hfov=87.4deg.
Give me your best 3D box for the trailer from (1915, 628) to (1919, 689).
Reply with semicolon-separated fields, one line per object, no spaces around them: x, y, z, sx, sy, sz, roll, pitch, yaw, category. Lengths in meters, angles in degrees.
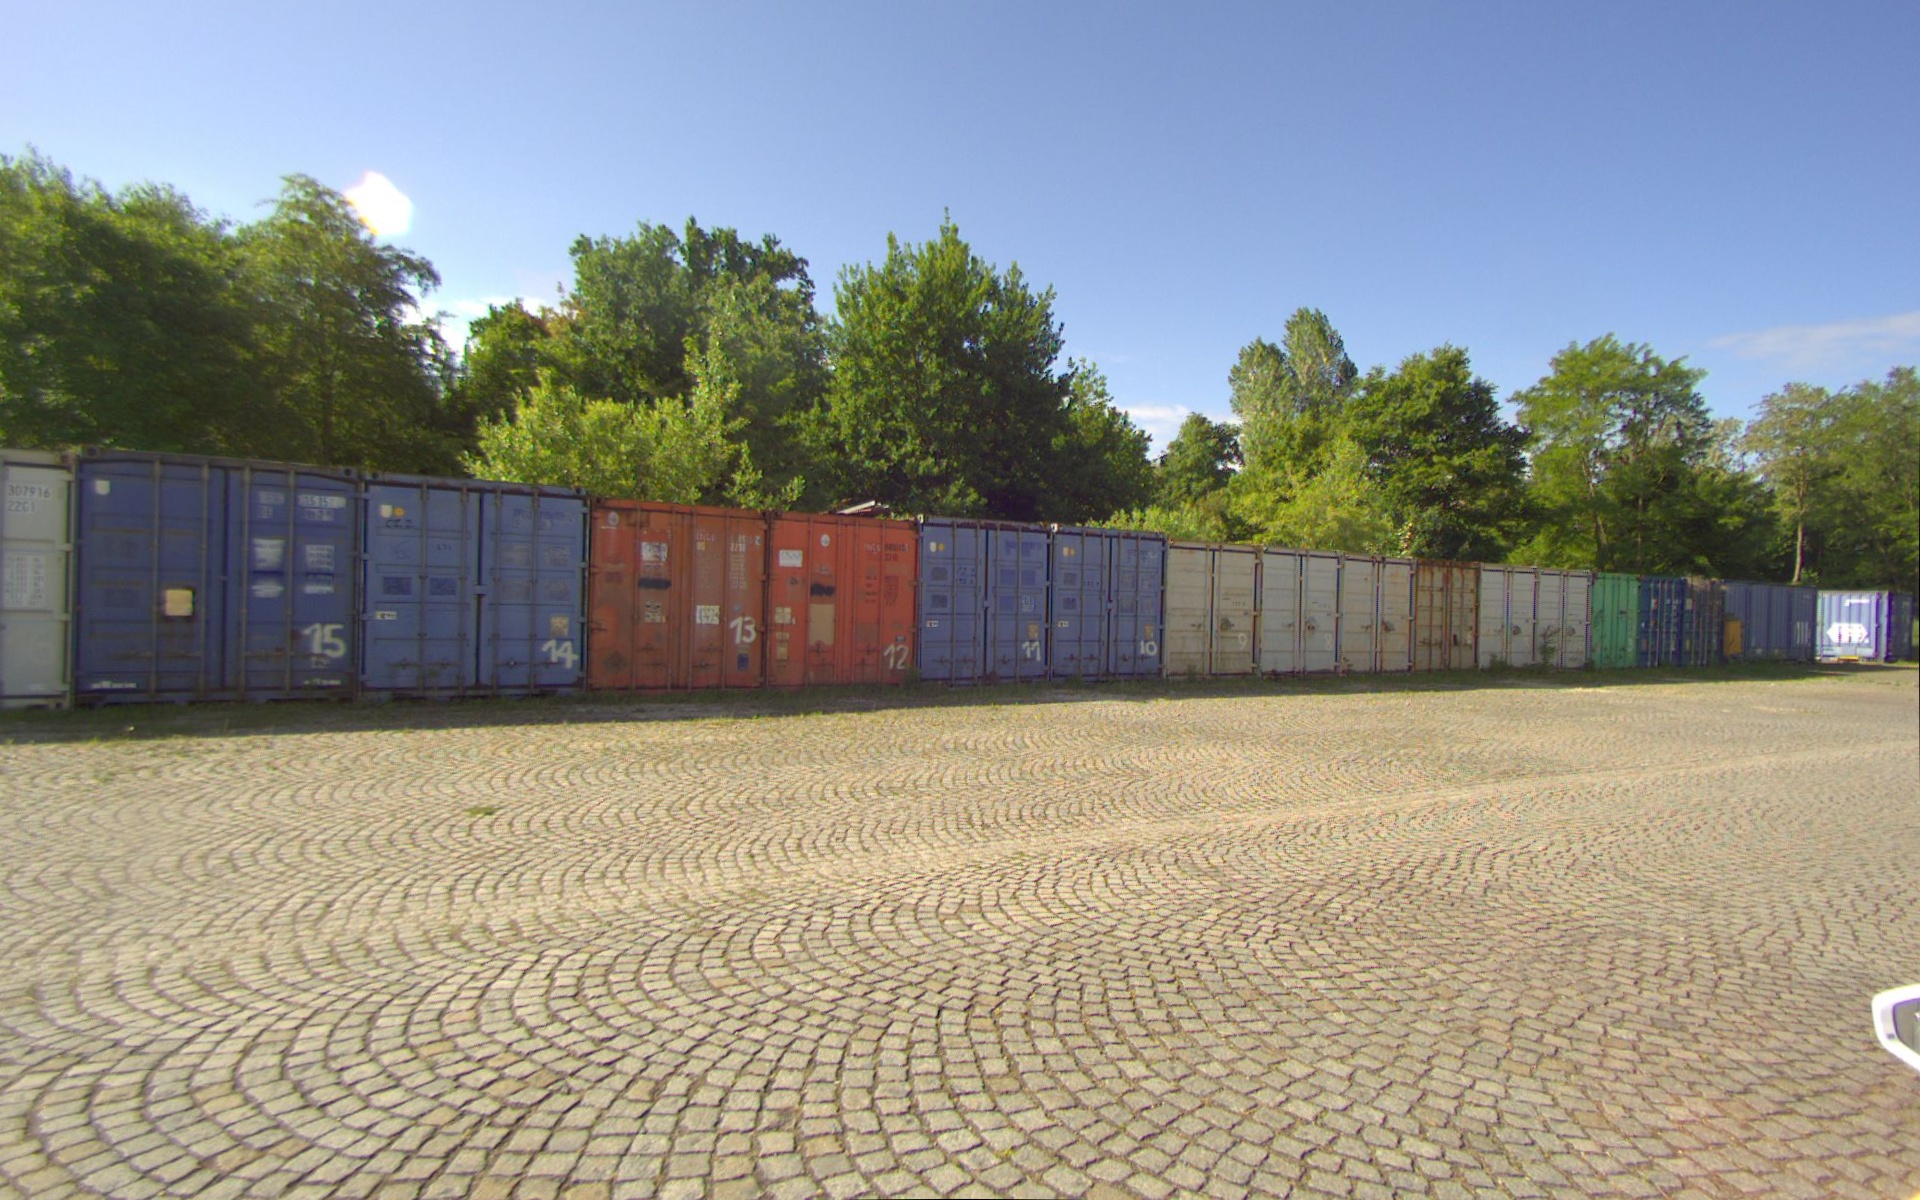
25.303;1.472;23.799;4.805;1.433;2.628;2;0;-30;trailer
